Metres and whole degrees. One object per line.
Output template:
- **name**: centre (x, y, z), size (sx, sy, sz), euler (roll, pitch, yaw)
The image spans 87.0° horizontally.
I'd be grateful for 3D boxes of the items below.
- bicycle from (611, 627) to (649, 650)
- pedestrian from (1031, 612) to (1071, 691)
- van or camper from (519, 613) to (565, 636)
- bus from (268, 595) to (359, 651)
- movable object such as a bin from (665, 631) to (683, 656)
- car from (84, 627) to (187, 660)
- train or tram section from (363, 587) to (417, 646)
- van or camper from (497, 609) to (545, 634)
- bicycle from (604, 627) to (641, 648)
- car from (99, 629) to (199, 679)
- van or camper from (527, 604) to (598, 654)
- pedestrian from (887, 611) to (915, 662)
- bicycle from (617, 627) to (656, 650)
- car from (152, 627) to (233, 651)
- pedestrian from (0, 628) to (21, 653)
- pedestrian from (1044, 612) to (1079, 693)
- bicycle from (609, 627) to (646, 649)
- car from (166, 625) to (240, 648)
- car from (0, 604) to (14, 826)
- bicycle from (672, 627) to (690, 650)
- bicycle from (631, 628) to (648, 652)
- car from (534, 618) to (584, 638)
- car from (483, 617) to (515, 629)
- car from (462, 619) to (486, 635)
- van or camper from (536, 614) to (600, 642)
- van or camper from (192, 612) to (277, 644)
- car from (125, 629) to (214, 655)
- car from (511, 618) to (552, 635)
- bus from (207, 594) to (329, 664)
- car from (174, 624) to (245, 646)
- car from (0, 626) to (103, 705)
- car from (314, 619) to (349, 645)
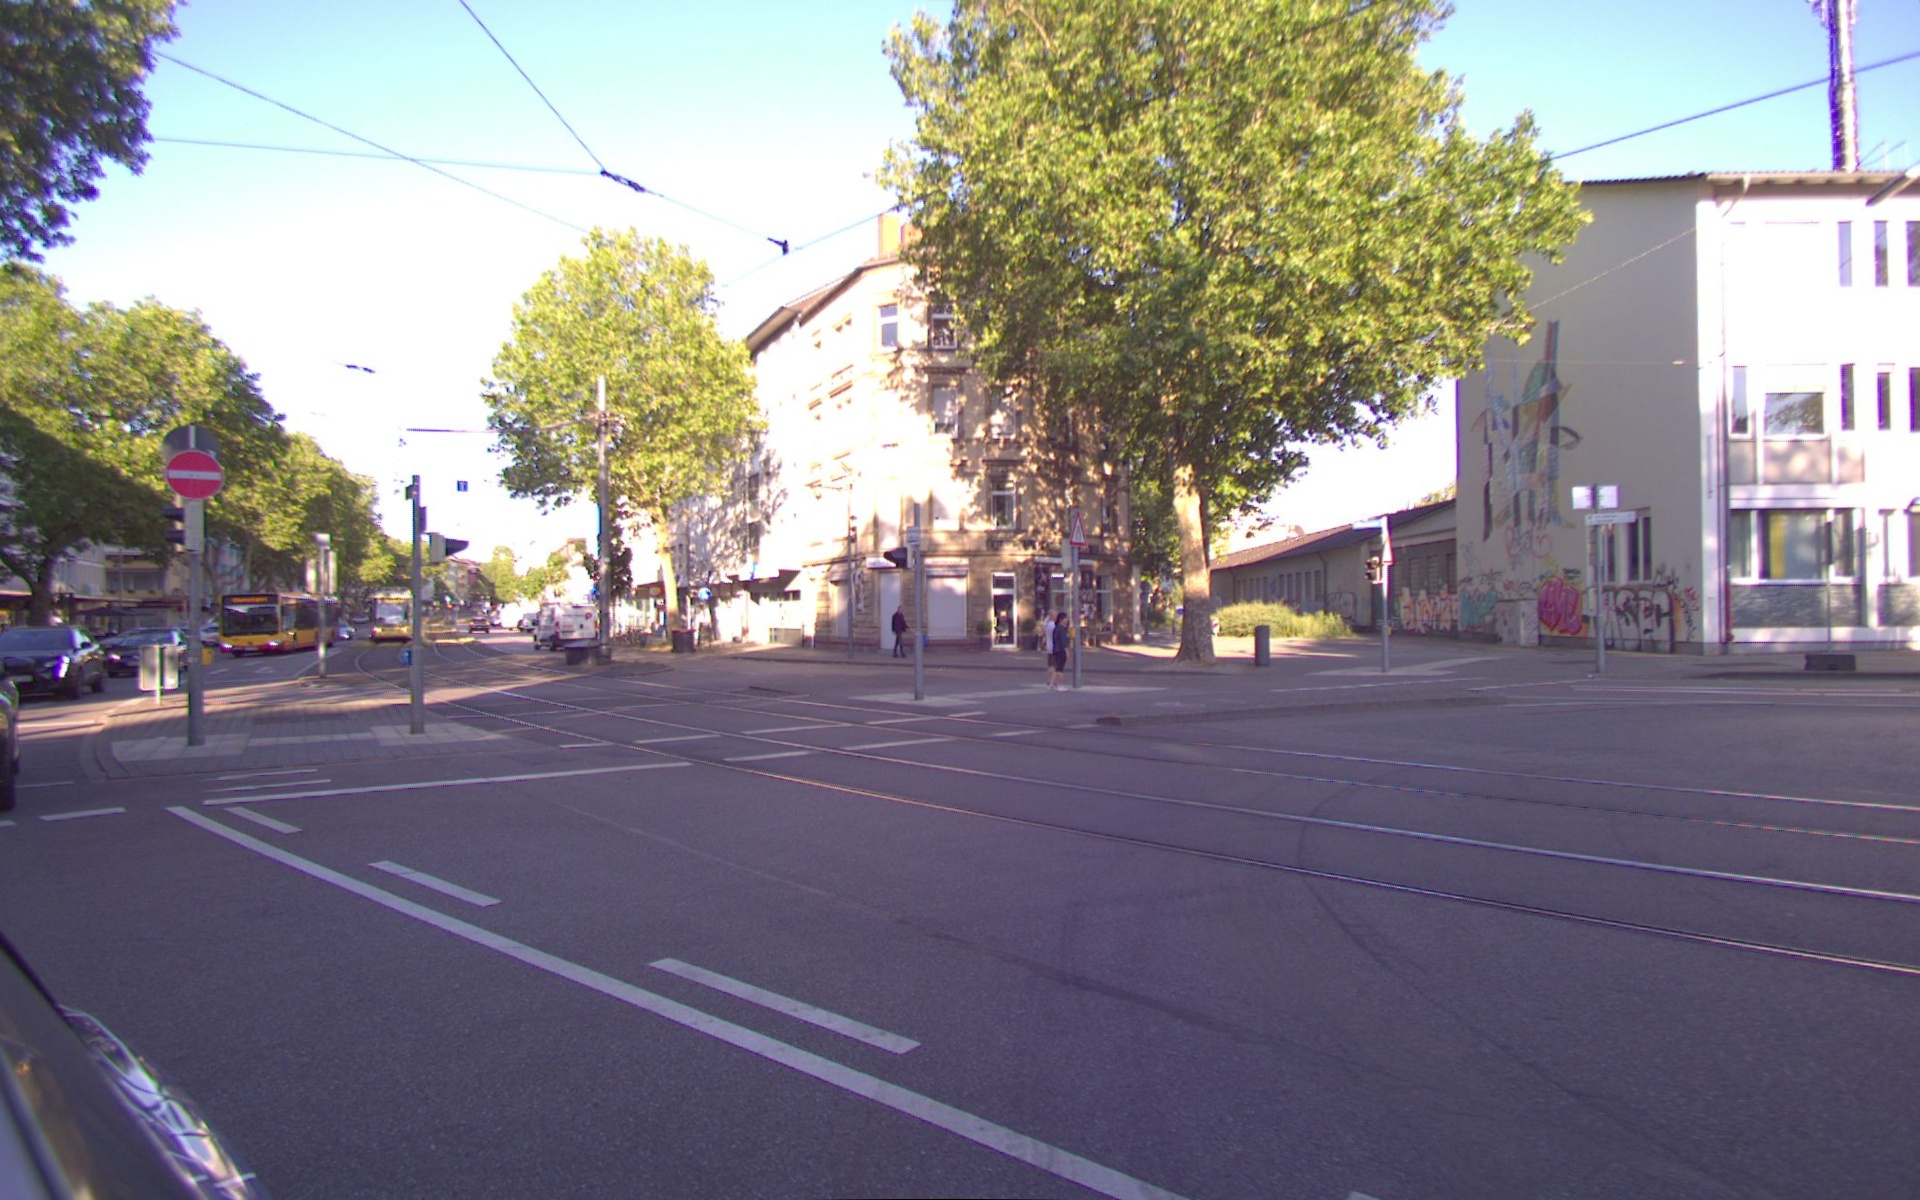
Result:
- **bicycle**: centre (-18.043, 2.089, 55.364), size (1.868, 1.133, 0.654), euler (-2, 0, -30)
- **pedestrian**: centre (1.808, 1.009, 20.011), size (0.592, 1.515, 0.516), euler (-2, -1, 33)
- **van or camper**: centre (-41.631, 2.422, 100.817), size (1.785, 2.004, 4.426), euler (-3, 0, 17)
- **bus**: centre (-39.934, 1.275, 62.952), size (2.824, 3.001, 12.281), euler (-3, 1, -24)
- **movable object such as a bin**: centre (-12.994, 1.961, 46.004), size (0.540, 1.102, 0.645), euler (-1, -2, 12)
- **car**: centre (-43.979, 2.285, 54.079), size (1.792, 1.618, 3.982), euler (-1, -1, 14)
- **train or tram section**: centre (-37.413, 1.088, 66.713), size (2.595, 3.476, 11.165), euler (-2, 0, -27)
- **van or camper**: centre (-51.614, 2.459, 119.204), size (1.978, 2.687, 6.379), euler (-3, 0, 10)
- **bicycle**: centre (-19.054, 2.114, 57.163), size (1.868, 1.133, 0.536), euler (-2, 0, -30)
- **car**: centre (-26.915, 1.746, 33.734), size (1.631, 1.497, 4.174), euler (-1, -1, -25)
- **van or camper**: centre (-19.804, 1.470, 50.237), size (2.138, 2.337, 5.116), euler (2, -3, -35)
- **pedestrian**: centre (-2.116, 1.296, 36.257), size (0.610, 1.801, 0.974), euler (-3, 0, -24)
- **bicycle**: centre (-17.198, 2.062, 53.865), size (1.868, 1.133, 0.654), euler (-2, 0, -30)
- **car**: centre (-50.504, 2.541, 66.675), size (1.648, 1.447, 3.971), euler (0, -1, 22)
- **pedestrian**: centre (-54.696, 2.321, 58.218), size (0.738, 1.372, 0.965), euler (0, -1, -24)
- **pedestrian**: centre (1.944, 1.002, 19.414), size (0.516, 1.515, 0.405), euler (-2, -1, 33)
- **bicycle**: centre (-18.434, 2.097, 56.068), size (1.868, 1.133, 0.536), euler (-2, 0, -30)
- **car**: centre (-54.204, 2.586, 72.519), size (1.648, 1.534, 3.971), euler (0, -1, 22)
- **car**: centre (-9.255, 0.883, 8.152), size (3.994, 1.660, 1.786), euler (-1, -1, 38)
- **bicycle**: centre (-14.457, 1.969, 52.473), size (0.501, 1.133, 1.917), euler (-2, 0, -26)
- **bicycle**: centre (-16.348, 2.027, 51.531), size (0.501, 1.133, 1.917), euler (-2, 0, -26)
- **car**: centre (-35.159, 2.463, 88.782), size (1.753, 1.501, 4.430), euler (-3, 0, 15)
- **car**: centre (-68.201, 3.417, 149.853), size (1.768, 1.501, 3.865), euler (-3, 0, 39)
- **car**: centre (-47.549, 2.584, 98.993), size (1.859, 1.483, 4.220), euler (-1, -1, -30)
- **van or camper**: centre (-30.355, 2.153, 78.481), size (1.936, 1.912, 4.784), euler (-3, 0, 19)
- **van or camper**: centre (-58.821, 2.218, 82.124), size (1.986, 2.488, 5.423), euler (-1, -1, 22)
- **car**: centre (-47.161, 2.470, 60.486), size (1.646, 1.447, 3.975), euler (0, -1, 18)
- **car**: centre (-45.175, 2.787, 106.769), size (1.864, 1.598, 3.976), euler (-3, 0, 18)
- **bus**: centre (-35.013, 1.276, 51.744), size (2.824, 3.001, 12.281), euler (-3, 1, -24)
- **car**: centre (-55.783, 2.587, 75.330), size (1.648, 1.575, 3.971), euler (0, -1, 22)
- **car**: centre (-20.585, 1.402, 22.723), size (1.632, 1.593, 4.010), euler (-1, -1, -34)
- **car**: centre (-47.564, 2.407, 76.594), size (1.965, 1.918, 4.013), euler (-1, -1, -28)
